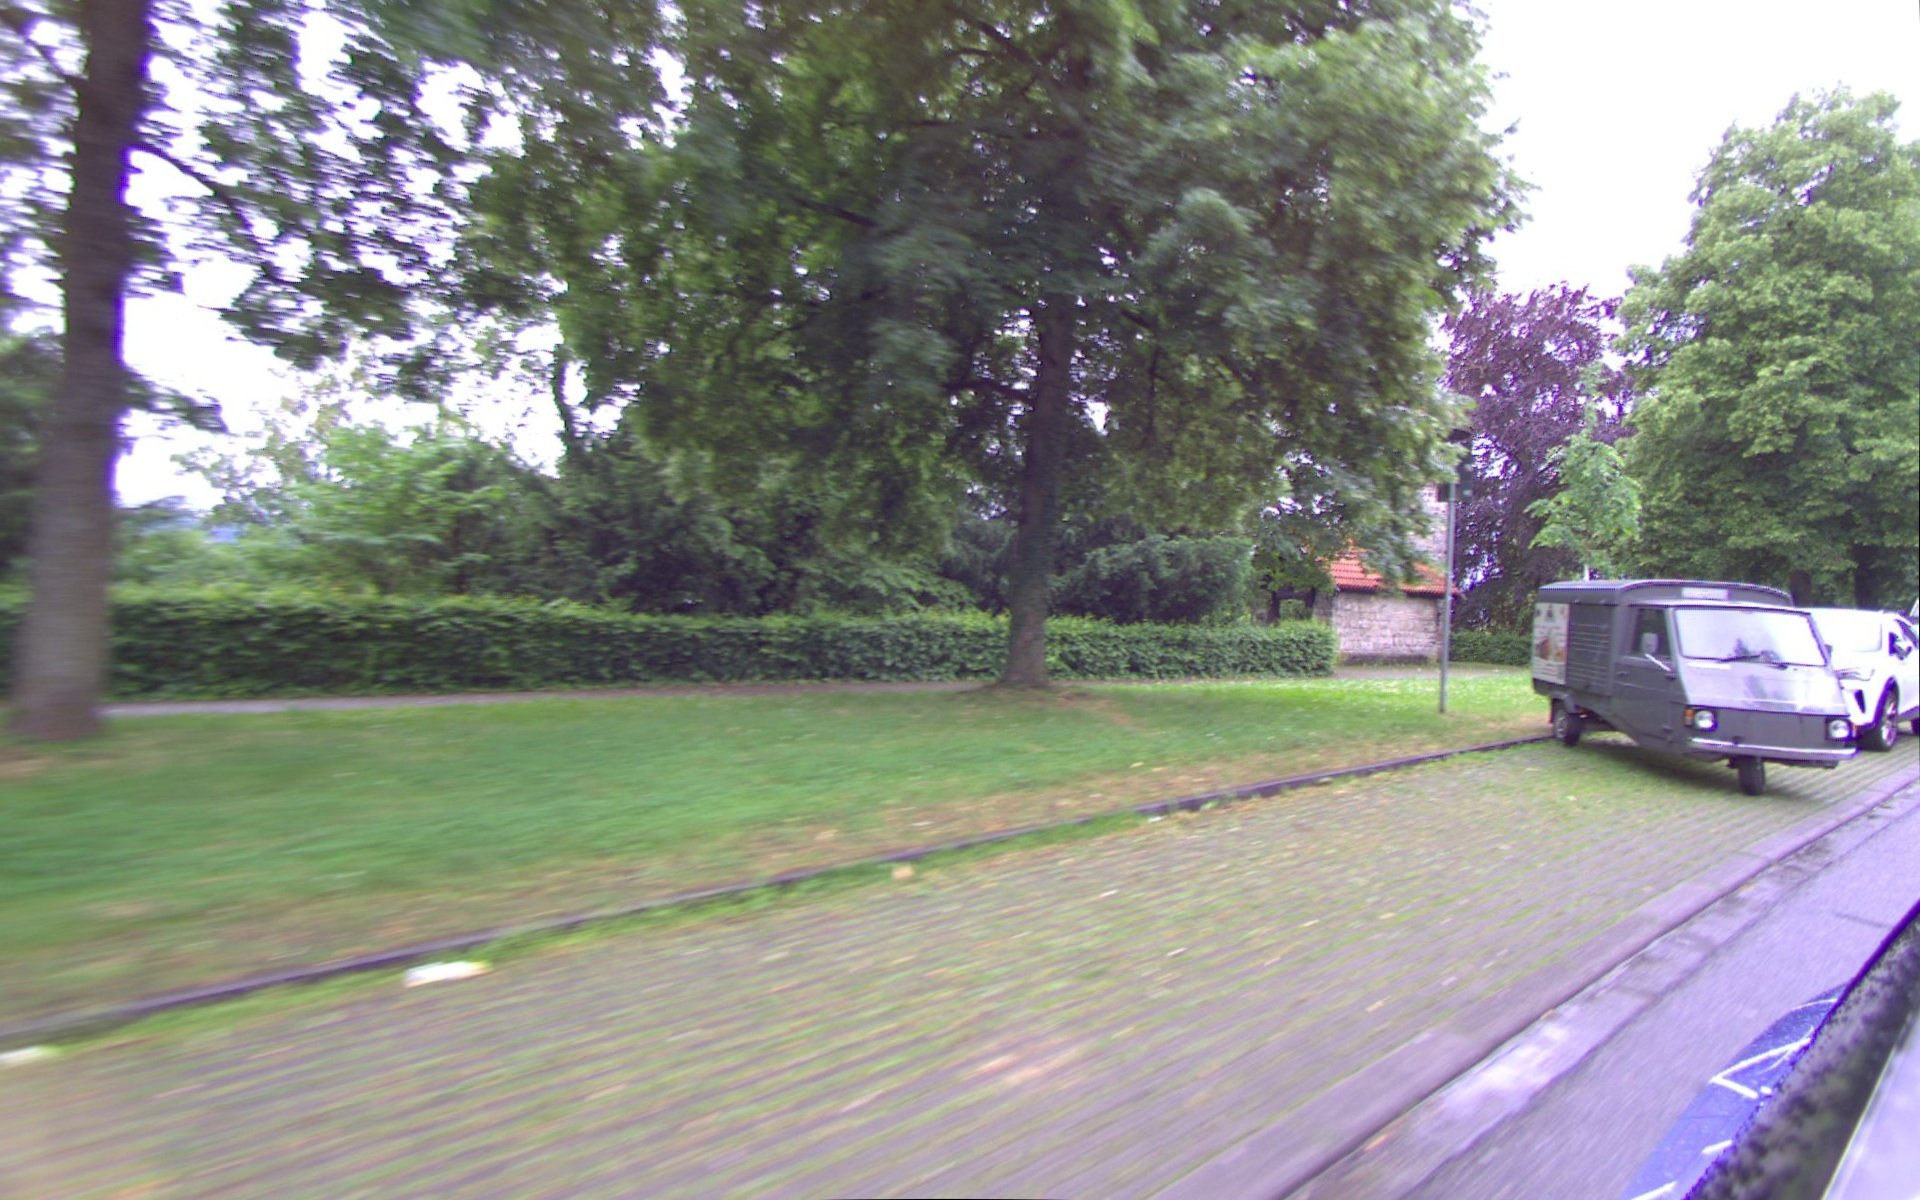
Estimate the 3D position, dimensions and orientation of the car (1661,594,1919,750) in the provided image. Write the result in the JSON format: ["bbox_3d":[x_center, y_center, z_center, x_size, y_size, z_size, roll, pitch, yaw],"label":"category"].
[{"bbox_3d":[10.628,0.774,12.358,4.480,1.516,2.000,2,1,-36],"label":"car"}]

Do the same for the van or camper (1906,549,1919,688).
[{"bbox_3d":[22.014,0.540,20.808,8.274,2.615,2.023,3,1,-35],"label":"van or camper"}]

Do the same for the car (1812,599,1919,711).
[{"bbox_3d":[15.460,0.863,16.107,4.185,1.558,1.812,2,2,-34],"label":"car"}]

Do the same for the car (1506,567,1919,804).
[{"bbox_3d":[6.782,0.568,9.627,1.586,1.701,3.995,2,2,11],"label":"car"}]
